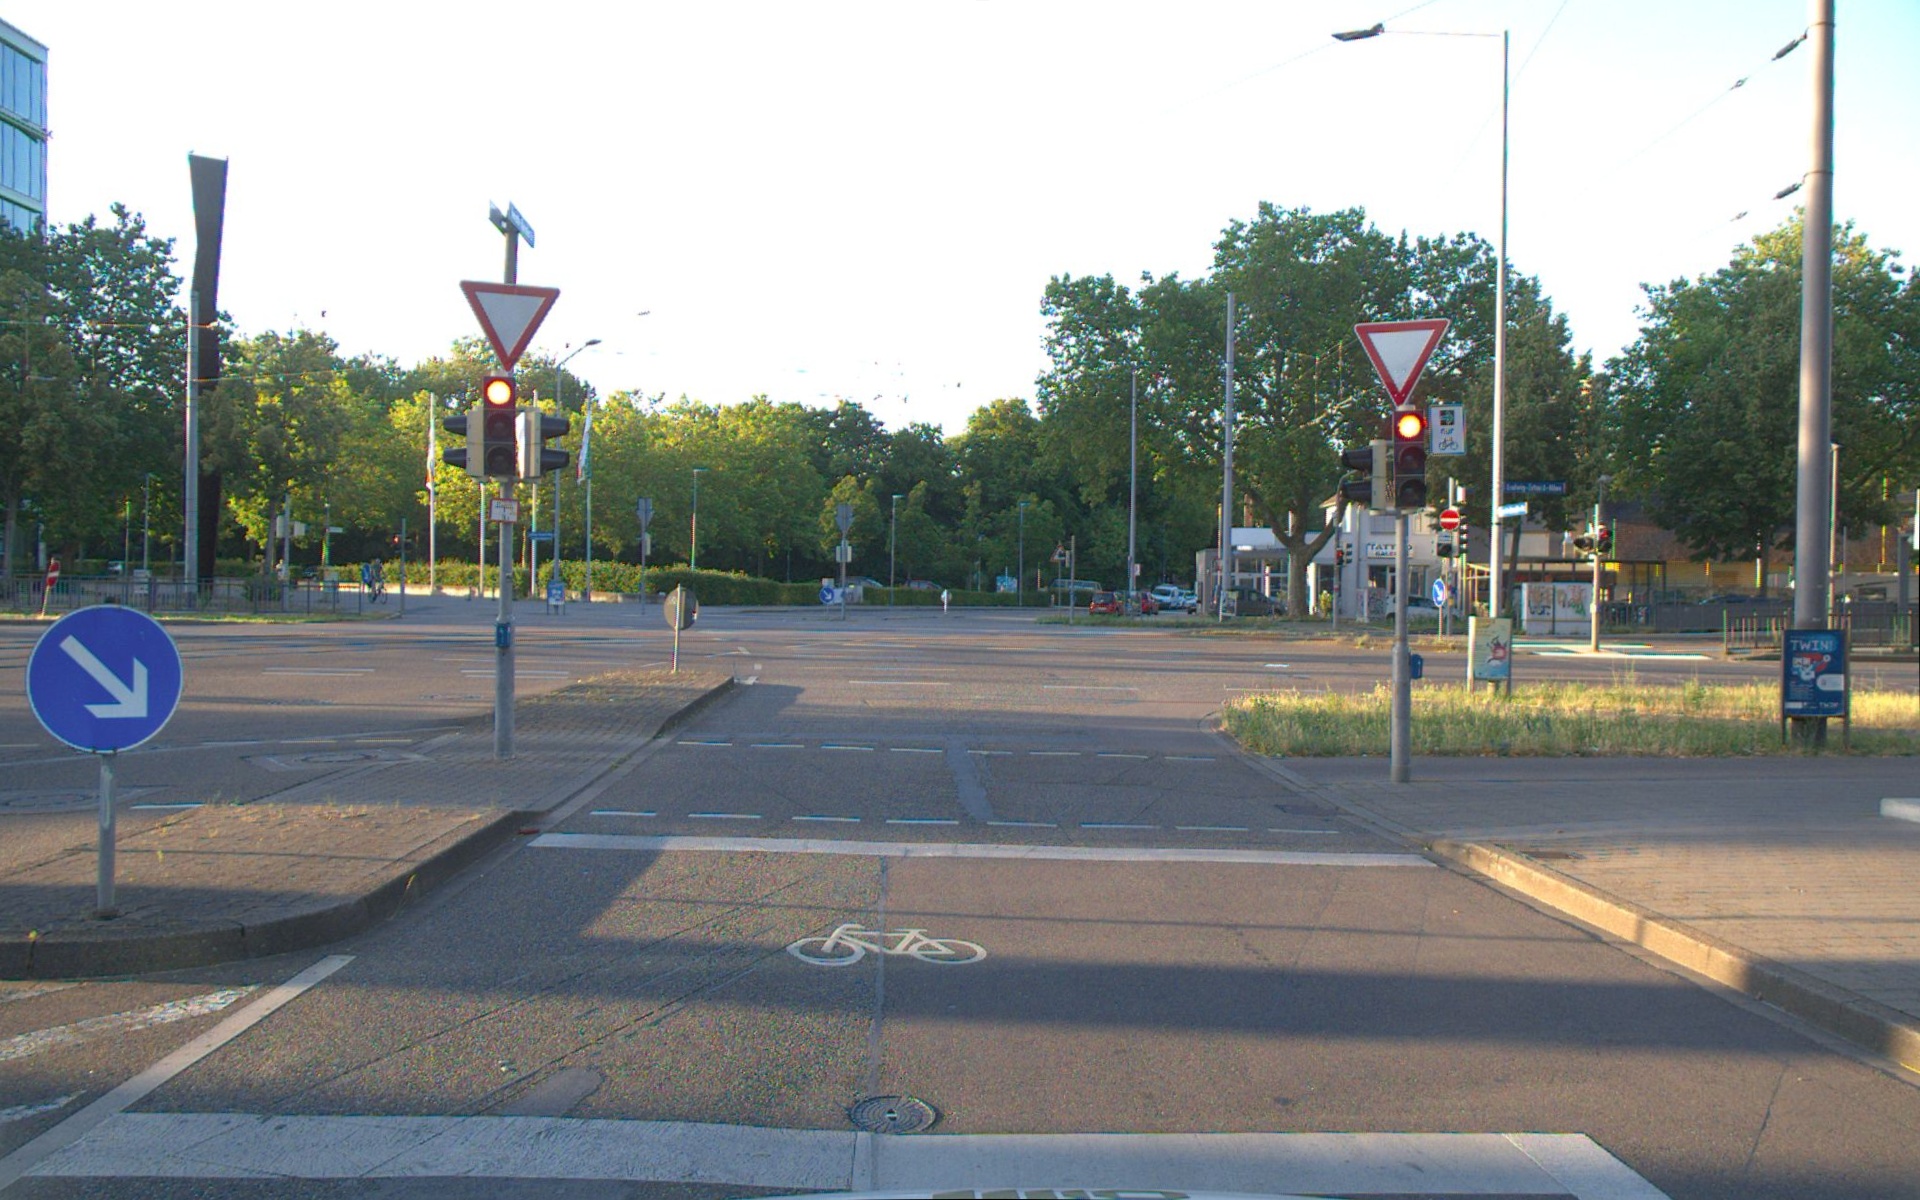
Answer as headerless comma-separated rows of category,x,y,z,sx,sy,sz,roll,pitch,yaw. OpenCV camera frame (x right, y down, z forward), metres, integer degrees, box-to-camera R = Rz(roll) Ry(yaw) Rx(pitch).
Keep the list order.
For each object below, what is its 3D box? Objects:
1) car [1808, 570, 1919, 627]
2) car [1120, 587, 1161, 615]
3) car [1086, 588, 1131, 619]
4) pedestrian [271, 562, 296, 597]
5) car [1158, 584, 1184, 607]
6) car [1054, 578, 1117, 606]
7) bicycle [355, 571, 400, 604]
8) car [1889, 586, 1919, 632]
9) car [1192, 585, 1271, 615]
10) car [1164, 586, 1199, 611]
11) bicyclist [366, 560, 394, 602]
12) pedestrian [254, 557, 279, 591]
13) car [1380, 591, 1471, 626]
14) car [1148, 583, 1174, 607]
car,43.685,-0.085,78.664,5.476,2.596,2.231,1,0,7
car,11.322,0.093,103.534,1.951,1.691,4.003,0,-1,14
car,8.624,0.219,95.804,1.951,1.691,4.003,0,-1,14
pedestrian,-35.269,-1.059,86.233,0.844,1.774,0.828,1,0,31
car,17.411,-0.355,136.344,1.823,1.825,4.003,0,-1,12
car,9.512,-0.591,126.019,4.675,2.041,2.000,1,-1,1
bicycle,-24.592,-0.527,69.779,0.727,1.364,2.646,0,1,-45
car,33.439,0.327,54.856,4.241,1.522,1.805,1,-1,2
car,14.656,0.023,89.380,4.129,1.579,2.001,1,-1,7
car,15.558,-0.066,115.826,1.951,1.691,4.003,0,-1,14
bicyclist,-24.435,-0.805,69.676,0.904,1.739,0.748,1,0,42
pedestrian,-35.818,-1.343,85.408,0.844,1.774,0.828,1,0,32
car,20.398,0.384,72.529,3.659,1.465,1.665,1,-1,9
car,16.002,-0.365,131.429,1.823,1.825,4.003,1,-1,10
